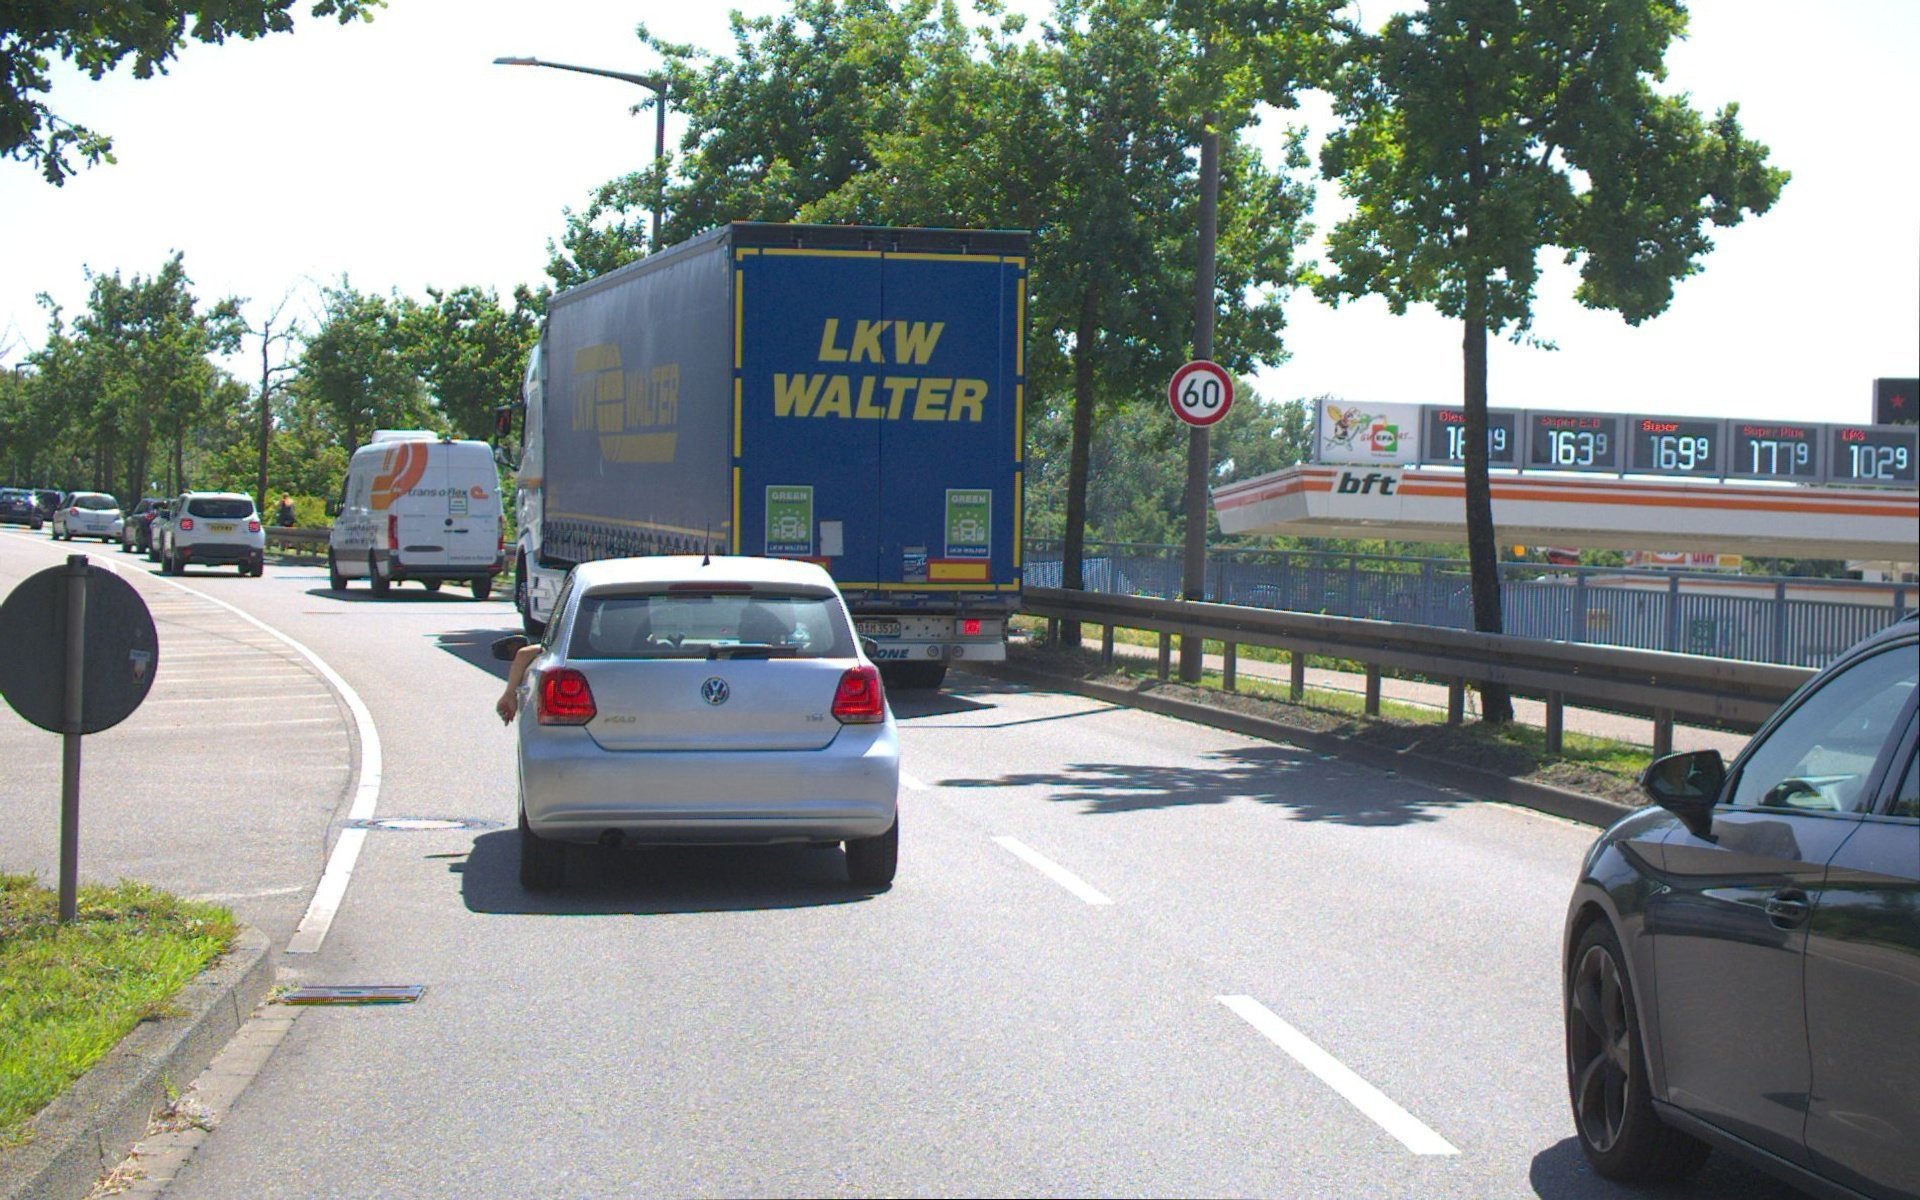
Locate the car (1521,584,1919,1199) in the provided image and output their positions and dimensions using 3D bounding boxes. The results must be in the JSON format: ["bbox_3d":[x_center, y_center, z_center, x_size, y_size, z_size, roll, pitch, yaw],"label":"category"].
[{"bbox_3d":[2.434,0.716,6.659,1.604,1.451,4.236,1,0,-6],"label":"car"}]

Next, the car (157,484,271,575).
[{"bbox_3d":[-15.156,-1.407,69.733,1.903,1.712,4.225,1,0,-16],"label":"car"}]

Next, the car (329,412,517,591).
[{"bbox_3d":[-9.392,-1.712,59.616,2.175,2.890,6.360,1,1,-18],"label":"car"}]

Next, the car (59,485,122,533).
[{"bbox_3d":[-25.818,-2.681,102.057,1.607,1.355,3.664,1,1,-17],"label":"car"}]

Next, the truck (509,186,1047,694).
[{"bbox_3d":[-2.558,-1.423,36.907,2.832,4.184,16.479,1,0,-13],"label":"truck"}]

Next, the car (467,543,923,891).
[{"bbox_3d":[-1.347,0.500,16.152,1.645,1.434,3.538,1,0,-12],"label":"car"}]

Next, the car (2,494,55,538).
[{"bbox_3d":[-33.473,-2.997,123.598,1.664,1.460,3.582,1,0,-13],"label":"car"}]
